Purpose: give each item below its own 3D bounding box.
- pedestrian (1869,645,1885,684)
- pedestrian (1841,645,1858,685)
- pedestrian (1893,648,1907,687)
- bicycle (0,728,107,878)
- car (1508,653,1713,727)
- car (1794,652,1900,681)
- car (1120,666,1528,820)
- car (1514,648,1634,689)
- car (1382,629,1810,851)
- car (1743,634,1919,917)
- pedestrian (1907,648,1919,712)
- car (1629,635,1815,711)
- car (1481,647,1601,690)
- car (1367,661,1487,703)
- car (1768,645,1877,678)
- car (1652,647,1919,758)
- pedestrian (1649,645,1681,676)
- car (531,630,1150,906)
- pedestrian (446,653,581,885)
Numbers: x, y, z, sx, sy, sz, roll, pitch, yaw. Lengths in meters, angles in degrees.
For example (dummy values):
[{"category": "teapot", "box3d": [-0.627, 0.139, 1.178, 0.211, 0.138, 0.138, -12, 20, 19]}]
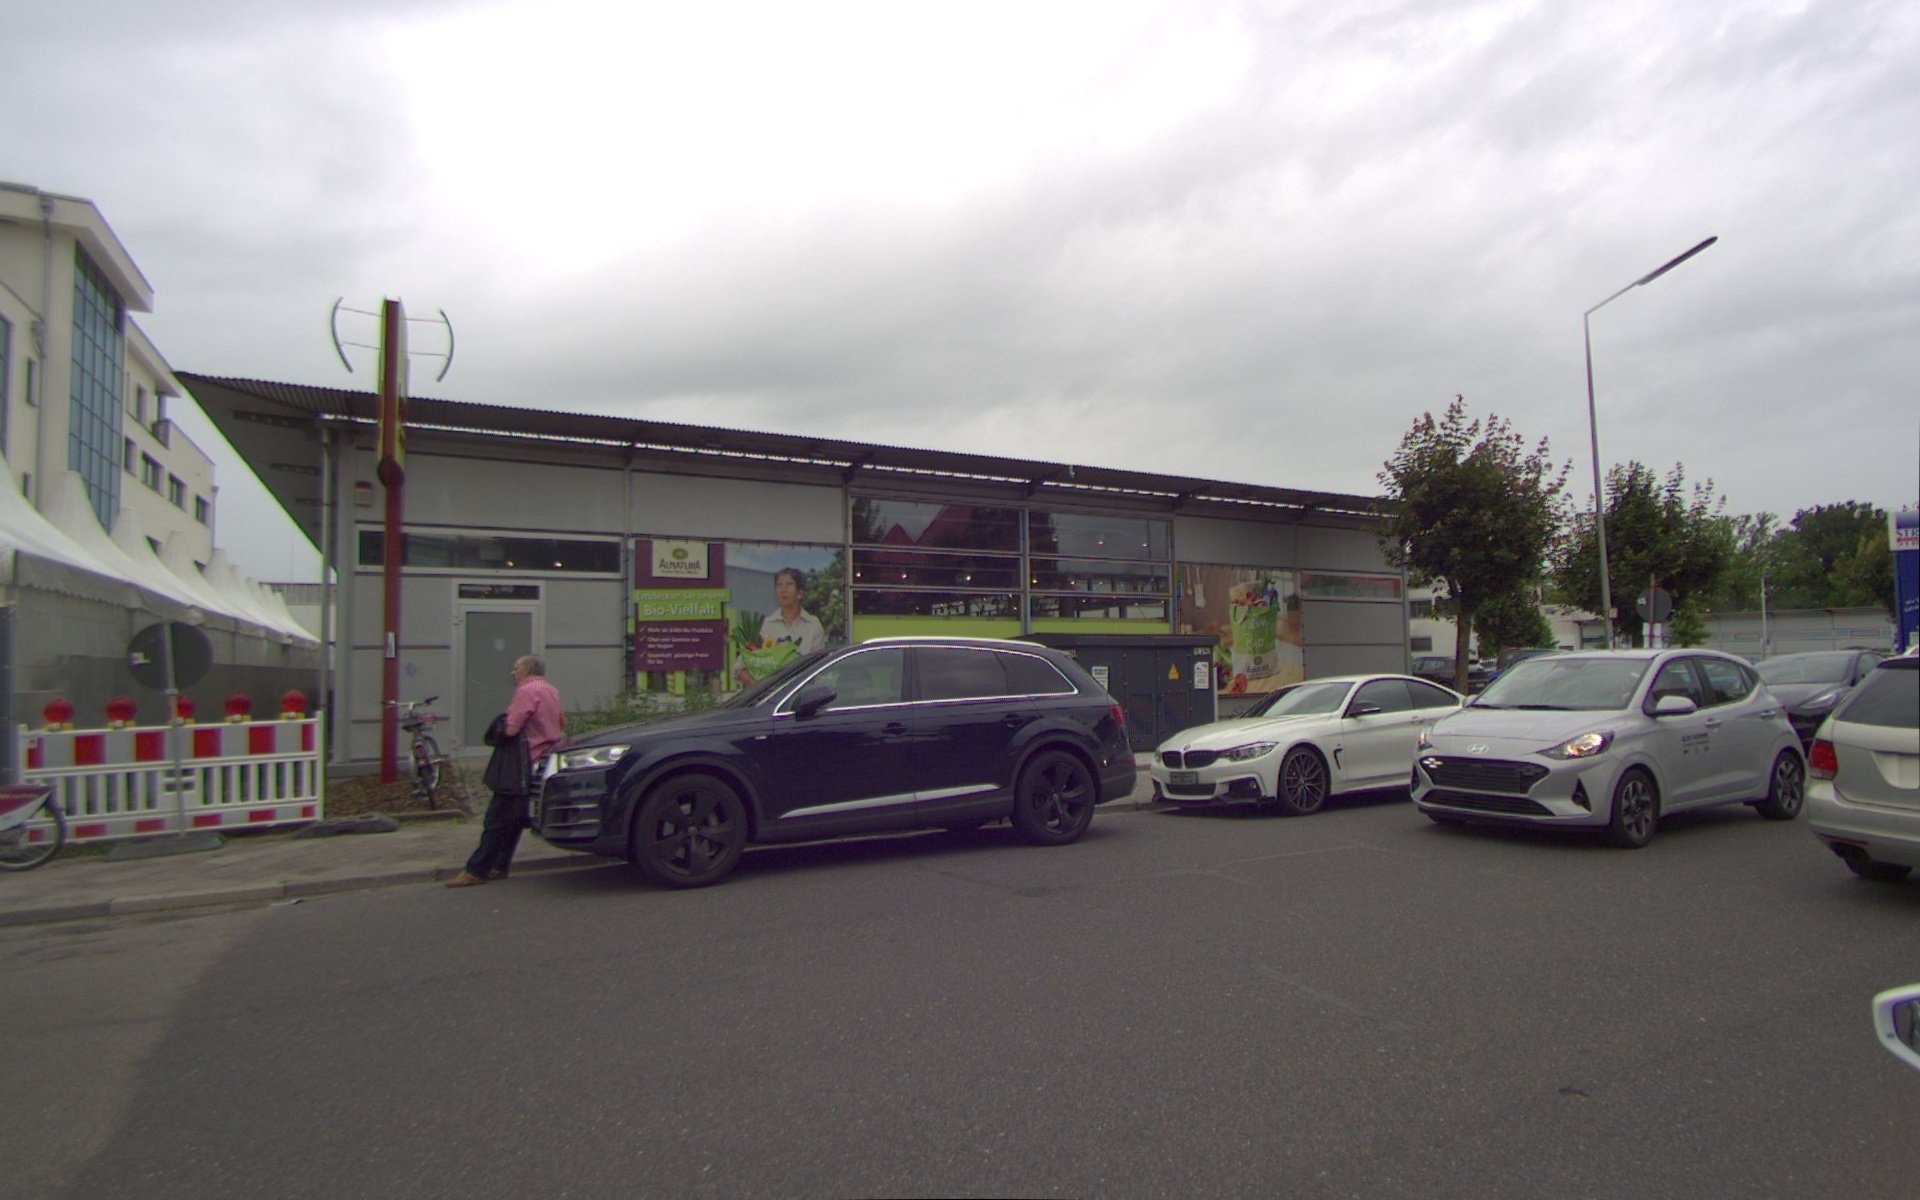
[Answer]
[{"category": "pedestrian", "box3d": [38.046, 2.671, 41.668, 0.500, 1.590, 0.356, 2, -4, -40]}, {"category": "pedestrian", "box3d": [37.824, 2.768, 42.719, 0.450, 1.663, 0.372, -4, -5, 44]}, {"category": "pedestrian", "box3d": [38.148, 2.730, 40.743, 0.500, 1.590, 0.327, 2, -3, -40]}, {"category": "bicycle", "box3d": [-7.848, 1.560, 7.692, 1.874, 1.091, 0.543, 2, -4, -23]}, {"category": "car", "box3d": [16.036, 2.156, 24.968, 1.904, 1.641, 3.859, 1, -3, -28]}, {"category": "car", "box3d": [48.834, 3.674, 55.387, 1.763, 1.511, 3.973, 1, -4, -27]}, {"category": "car", "box3d": [4.107, 1.516, 11.157, 4.464, 1.384, 1.693, 2, -9, -30]}, {"category": "car", "box3d": [26.470, 2.958, 43.431, 1.853, 1.690, 3.972, 1, -4, -28]}, {"category": "car", "box3d": [5.476, 1.110, 8.615, 3.486, 1.547, 1.592, 2, -6, -30]}, {"category": "car", "box3d": [6.968, 0.949, 6.062, 4.237, 1.470, 1.749, 1, -3, -24]}, {"category": "pedestrian", "box3d": [26.113, 2.148, 27.009, 0.689, 1.737, 0.771, 2, -3, -33]}, {"category": "car", "box3d": [22.005, 2.118, 29.145, 1.744, 2.039, 3.905, 2, -5, -35]}, {"category": "car", "box3d": [24.372, 2.879, 42.269, 1.853, 1.690, 3.972, 1, -4, -28]}, {"category": "car", "box3d": [17.325, 3.054, 37.402, 3.925, 1.504, 1.875, -3, -4, 25]}, {"category": "car", "box3d": [45.821, 3.279, 53.429, 1.853, 1.690, 3.972, 1, -4, -28]}, {"category": "car", "box3d": [13.240, 1.613, 15.955, 4.352, 1.545, 1.939, 2, -8, -31]}, {"category": "pedestrian", "box3d": [46.118, 3.967, 65.752, 1.361, 2.039, 1.211, -2, -4, 21]}, {"category": "car", "box3d": [-0.911, 1.205, 8.235, 4.669, 1.712, 1.860, 1, -7, -28]}, {"category": "pedestrian", "box3d": [-3.367, 1.260, 7.616, 0.641, 1.641, 0.675, -6, -8, 25]}]
